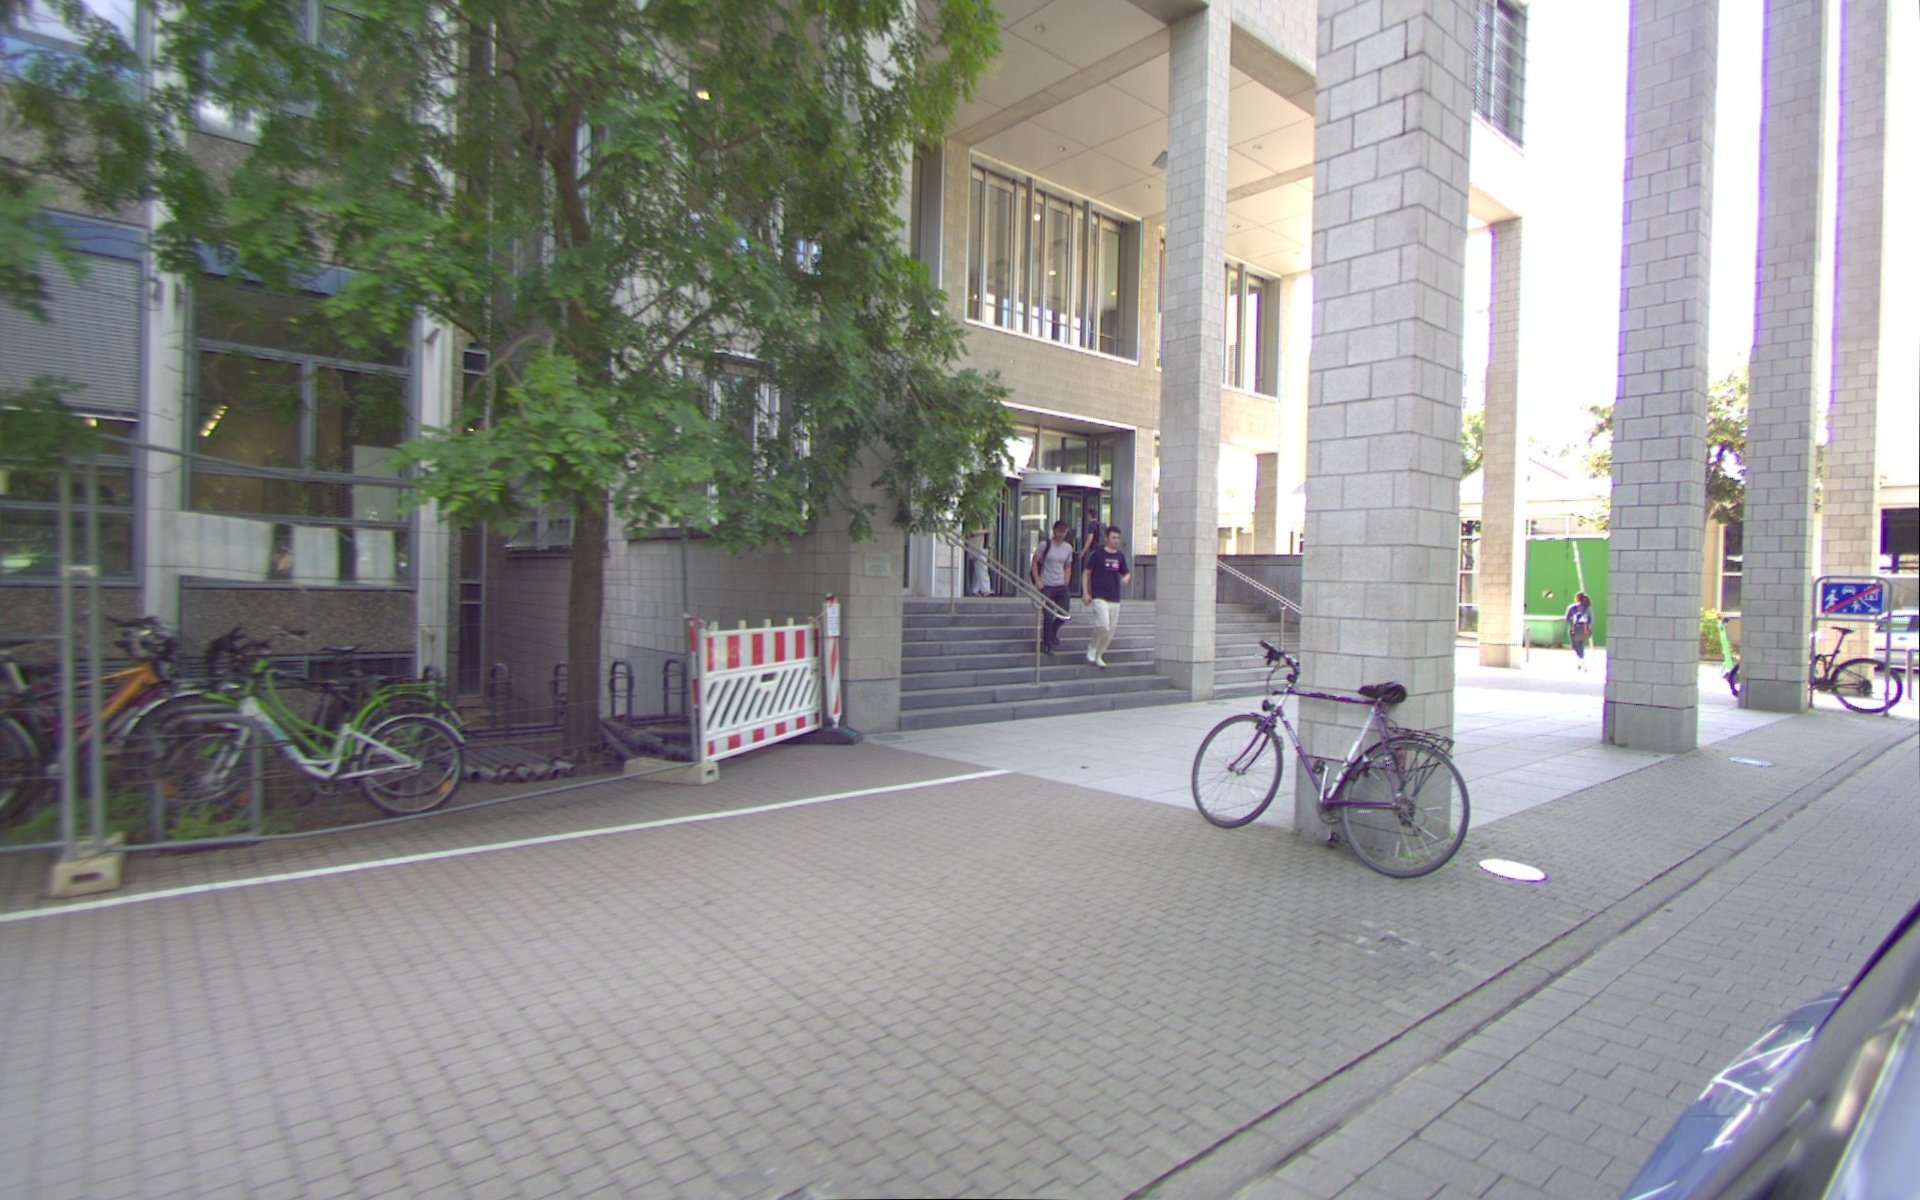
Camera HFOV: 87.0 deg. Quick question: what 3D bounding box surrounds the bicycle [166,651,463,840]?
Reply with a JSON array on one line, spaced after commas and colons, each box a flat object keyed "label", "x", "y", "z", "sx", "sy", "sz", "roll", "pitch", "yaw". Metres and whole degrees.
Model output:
[{"label": "bicycle", "x": -3.704, "y": 0.791, "z": 5.898, "sx": 1.424, "sy": 0.917, "sz": 0.291, "roll": 0, "pitch": 1, "yaw": -44}]

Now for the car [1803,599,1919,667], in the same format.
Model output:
[{"label": "car", "x": 23.012, "y": 0.796, "z": 24.496, "sx": 1.625, "sy": 1.494, "sz": 3.774, "roll": -2, "pitch": 3, "yaw": -40}]

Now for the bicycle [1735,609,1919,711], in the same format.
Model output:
[{"label": "bicycle", "x": 11.593, "y": 0.761, "z": 13.518, "sx": 0.595, "sy": 1.178, "sz": 1.882, "roll": 2, "pitch": 2, "yaw": -45}]

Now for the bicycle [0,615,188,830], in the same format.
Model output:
[{"label": "bicycle", "x": -5.215, "y": 0.668, "z": 5.638, "sx": 1.424, "sy": 1.142, "sz": 0.291, "roll": 0, "pitch": 1, "yaw": -44}]

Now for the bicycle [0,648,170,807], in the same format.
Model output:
[{"label": "bicycle", "x": -5.738, "y": 0.774, "z": 6.169, "sx": 1.424, "sy": 0.898, "sz": 0.291, "roll": 0, "pitch": 1, "yaw": -44}]

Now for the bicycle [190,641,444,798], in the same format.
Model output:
[{"label": "bicycle", "x": -4.323, "y": 0.767, "z": 6.884, "sx": 1.424, "sy": 0.917, "sz": 0.291, "roll": 0, "pitch": 1, "yaw": -44}]

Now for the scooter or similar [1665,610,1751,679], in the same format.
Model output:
[{"label": "scooter or similar", "x": 13.414, "y": 0.773, "z": 18.167, "sx": 0.436, "sy": 1.166, "sz": 1.158, "roll": 1, "pitch": 0, "yaw": -35}]

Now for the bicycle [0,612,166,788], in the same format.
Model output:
[{"label": "bicycle", "x": -6.152, "y": 0.644, "z": 6.661, "sx": 1.424, "sy": 1.113, "sz": 0.291, "roll": 0, "pitch": 1, "yaw": -44}]

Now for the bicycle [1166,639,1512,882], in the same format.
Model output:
[{"label": "bicycle", "x": 2.012, "y": 0.791, "z": 5.582, "sx": 0.442, "sy": 1.052, "sz": 1.740, "roll": 2, "pitch": 0, "yaw": -45}]

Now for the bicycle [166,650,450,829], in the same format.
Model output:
[{"label": "bicycle", "x": -3.914, "y": 0.798, "z": 6.163, "sx": 1.424, "sy": 0.917, "sz": 0.291, "roll": 0, "pitch": 1, "yaw": -44}]

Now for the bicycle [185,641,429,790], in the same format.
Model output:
[{"label": "bicycle", "x": -4.592, "y": 0.778, "z": 7.193, "sx": 1.424, "sy": 0.917, "sz": 0.291, "roll": 0, "pitch": 1, "yaw": -44}]

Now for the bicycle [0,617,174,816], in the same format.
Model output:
[{"label": "bicycle", "x": -5.505, "y": 0.669, "z": 5.905, "sx": 1.424, "sy": 1.108, "sz": 0.291, "roll": 0, "pitch": 1, "yaw": -44}]

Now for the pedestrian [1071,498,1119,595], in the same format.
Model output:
[{"label": "pedestrian", "x": 2.611, "y": -1.015, "z": 19.602, "sx": 0.580, "sy": 1.826, "sz": 0.684, "roll": 1, "pitch": 0, "yaw": -41}]

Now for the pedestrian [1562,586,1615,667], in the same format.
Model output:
[{"label": "pedestrian", "x": 12.889, "y": 0.529, "z": 20.752, "sx": 0.816, "sy": 1.594, "sz": 0.869, "roll": 1, "pitch": 0, "yaw": 37}]

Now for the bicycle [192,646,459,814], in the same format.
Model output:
[{"label": "bicycle", "x": -4.039, "y": 0.788, "z": 6.520, "sx": 1.424, "sy": 0.917, "sz": 0.291, "roll": 0, "pitch": 1, "yaw": -44}]

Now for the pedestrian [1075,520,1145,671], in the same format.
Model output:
[{"label": "pedestrian", "x": 1.881, "y": -0.061, "z": 12.783, "sx": 0.689, "sy": 1.826, "sz": 0.883, "roll": 1, "pitch": 0, "yaw": -1}]

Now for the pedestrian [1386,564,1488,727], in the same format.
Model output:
[{"label": "pedestrian", "x": 5.023, "y": 0.449, "z": 10.708, "sx": 0.796, "sy": 1.637, "sz": 0.738, "roll": 1, "pitch": 1, "yaw": 14}]

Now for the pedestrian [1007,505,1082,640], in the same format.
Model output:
[{"label": "pedestrian", "x": 1.081, "y": -0.349, "z": 13.098, "sx": 0.688, "sy": 1.676, "sz": 0.884, "roll": 1, "pitch": 0, "yaw": -14}]
